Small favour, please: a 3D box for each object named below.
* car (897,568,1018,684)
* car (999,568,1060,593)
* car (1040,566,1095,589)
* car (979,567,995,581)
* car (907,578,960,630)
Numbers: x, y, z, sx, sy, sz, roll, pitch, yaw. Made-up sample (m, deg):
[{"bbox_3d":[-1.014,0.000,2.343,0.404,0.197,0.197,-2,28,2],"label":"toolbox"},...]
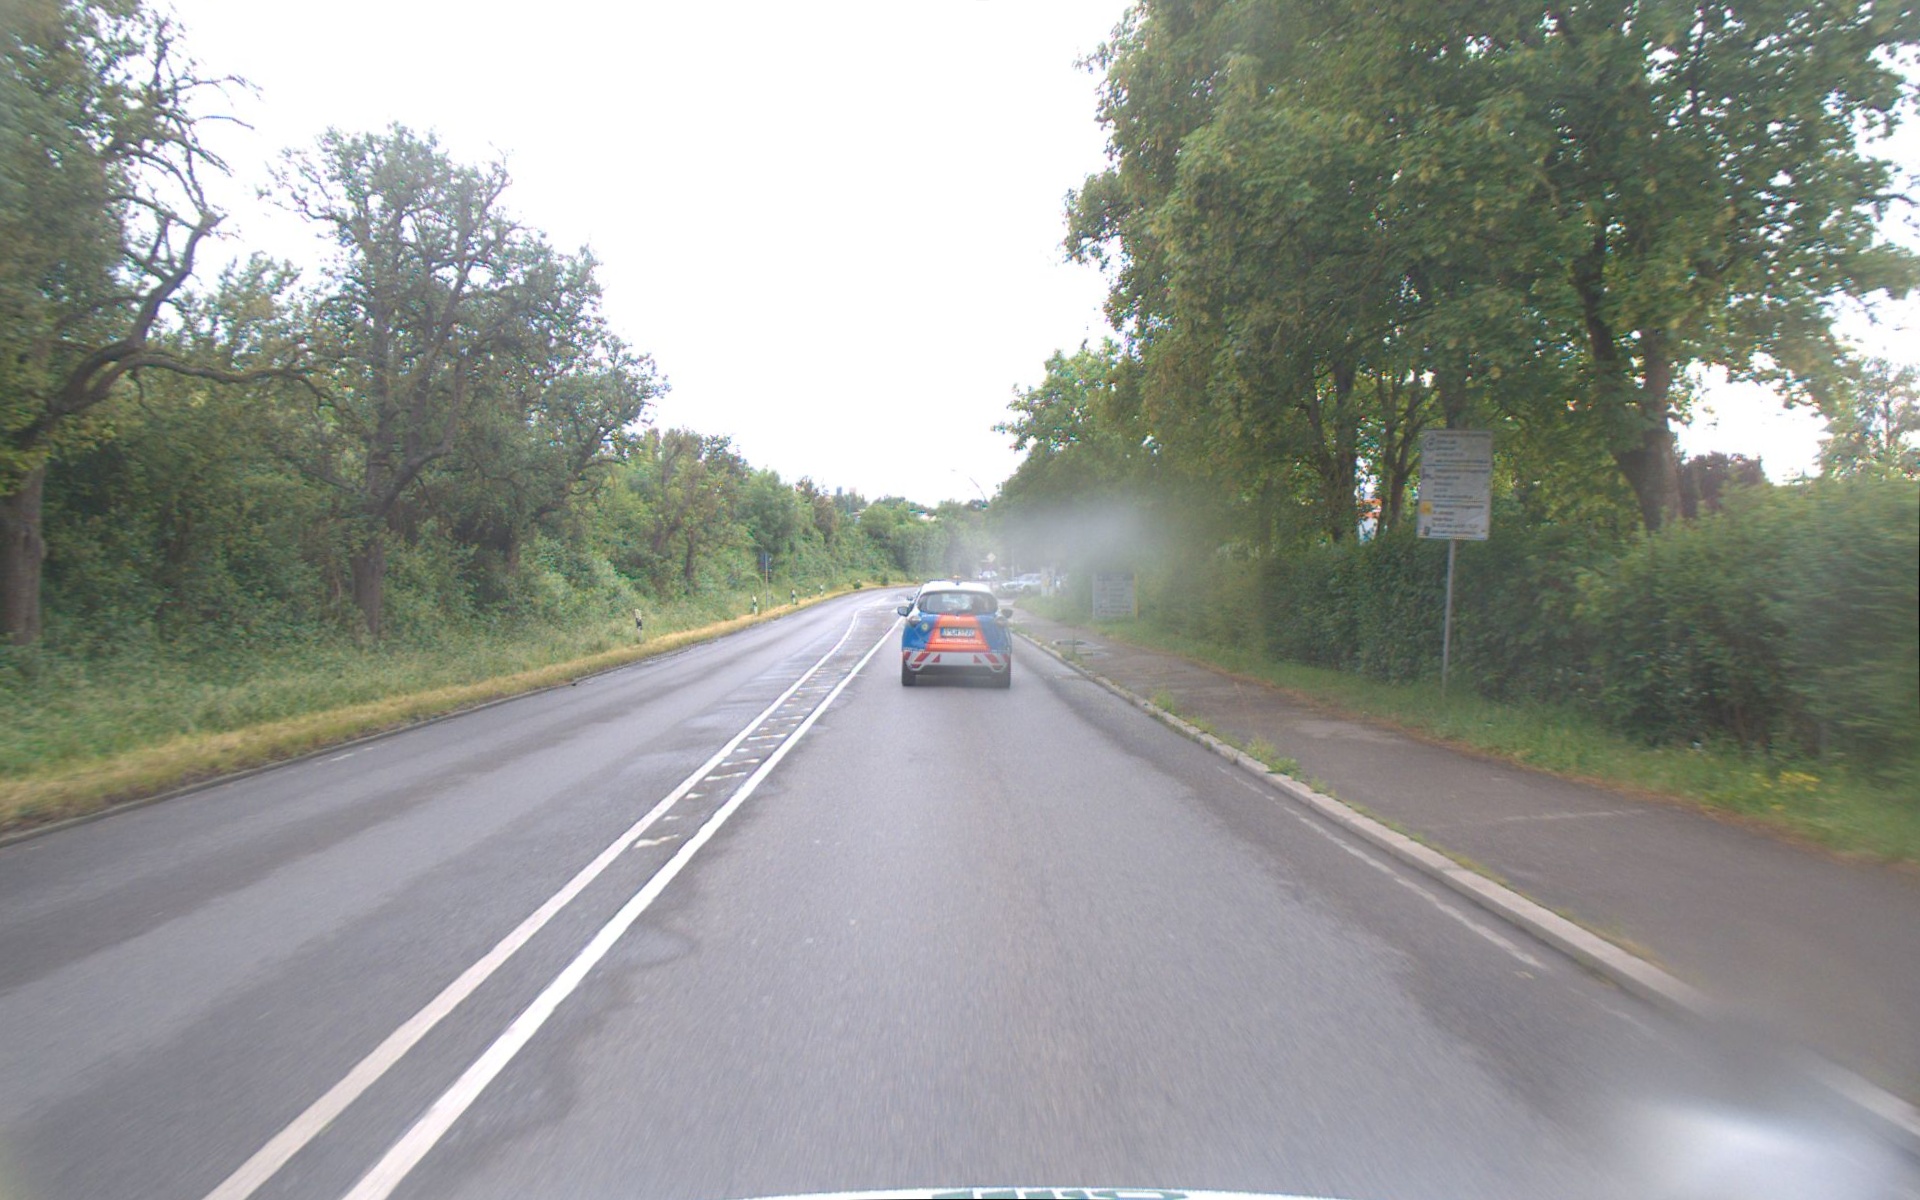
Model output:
[{"bbox_3d":[-0.074,0.377,26.496,1.769,1.697,3.855,1,0,-1],"label":"car"},{"bbox_3d":[5.260,-1.442,124.525,2.001,1.781,4.586,1,0,44],"label":"car"},{"bbox_3d":[8.455,-1.776,129.628,1.896,1.781,4.593,1,2,41],"label":"car"},{"bbox_3d":[3.927,-3.749,238.520,1.658,1.822,3.859,1,0,11],"label":"car"},{"bbox_3d":[-0.897,0.130,54.677,1.659,1.623,3.855,1,0,-1],"label":"car"}]
